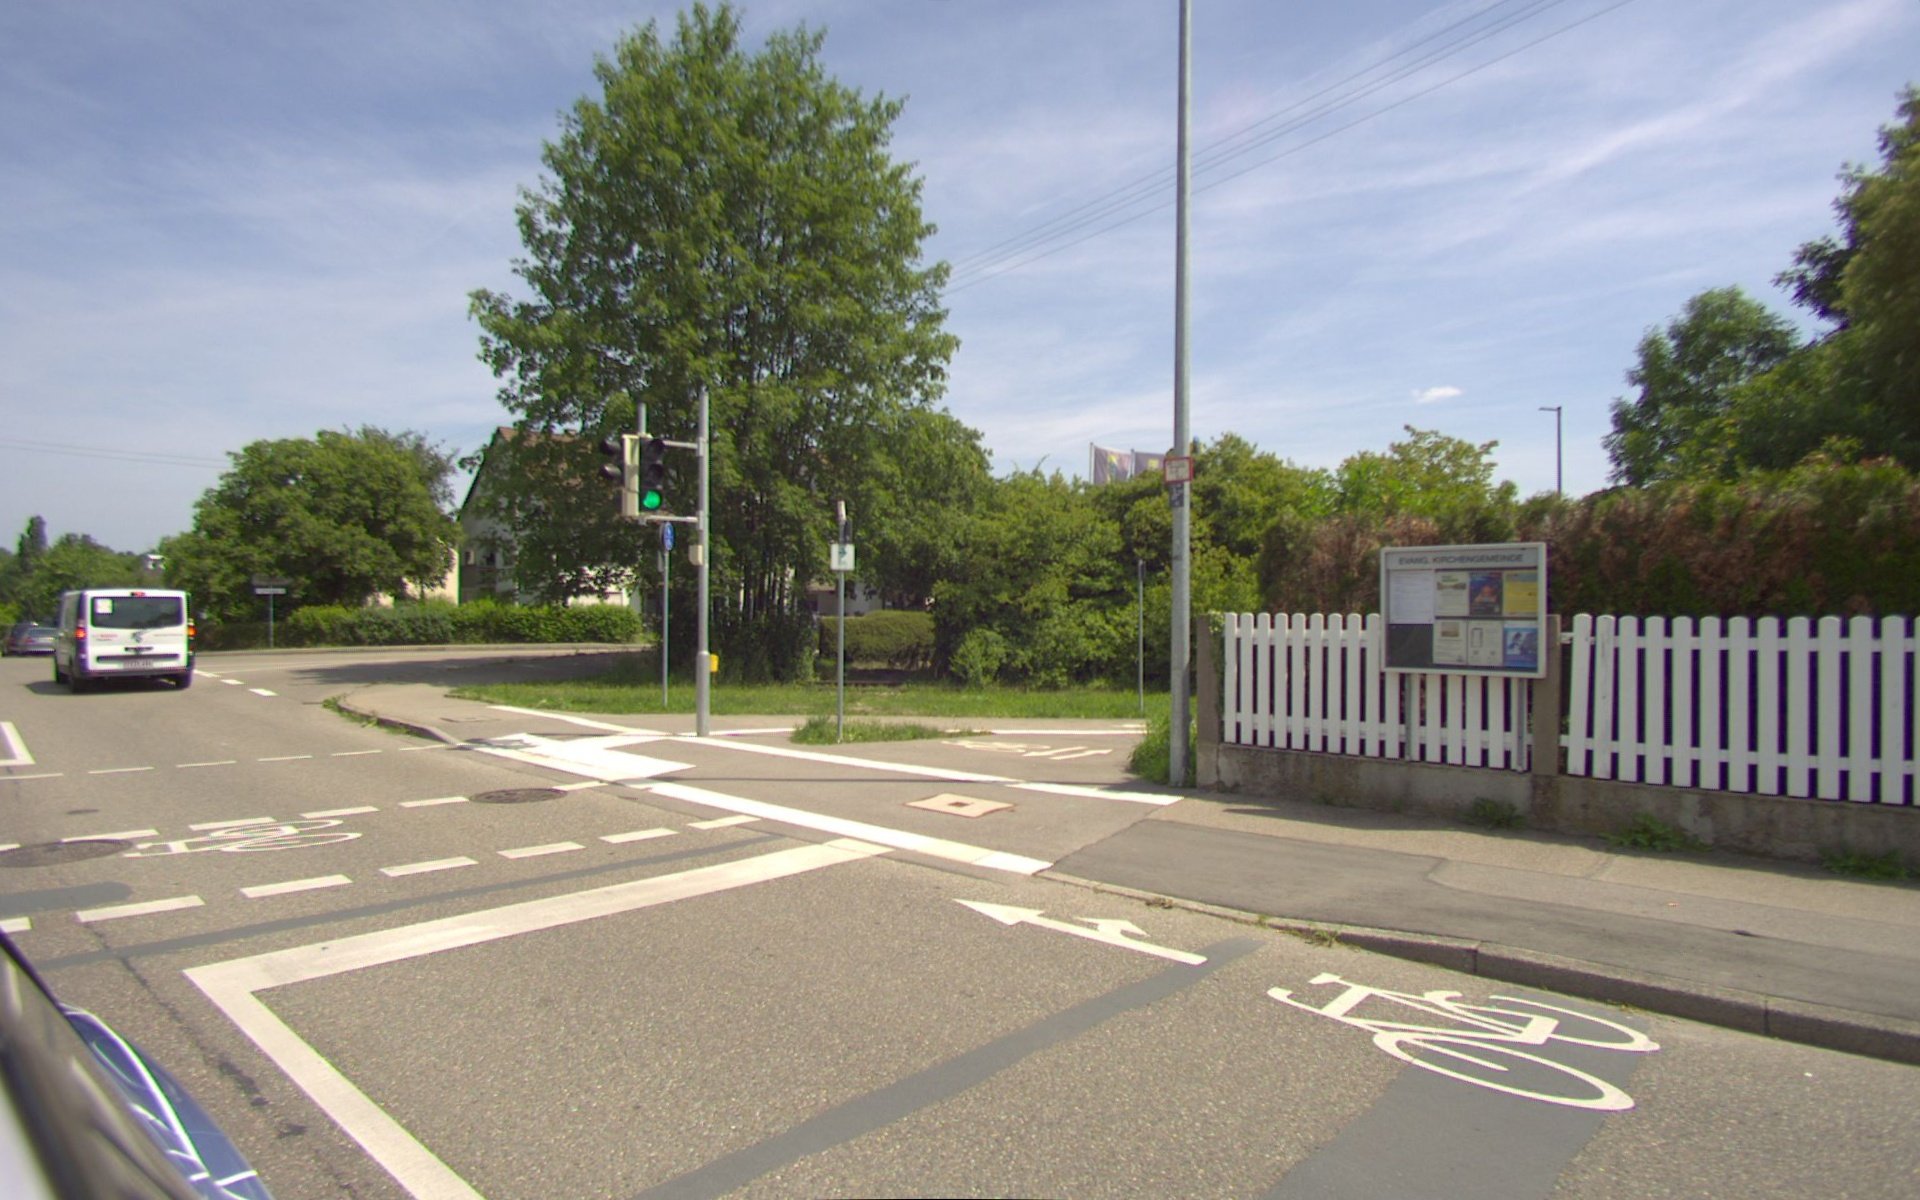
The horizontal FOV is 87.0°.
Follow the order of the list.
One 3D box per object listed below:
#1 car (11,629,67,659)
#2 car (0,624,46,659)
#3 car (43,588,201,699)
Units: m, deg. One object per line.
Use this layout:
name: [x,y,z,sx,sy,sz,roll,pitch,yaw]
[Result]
car: [-44.216,2.115,48.555,1.760,1.405,4.411,3,-4,-45]
car: [-56.328,2.515,60.614,4.869,1.935,1.876,-4,-5,42]
car: [-17.278,0.786,20.769,4.903,1.979,1.859,1,0,43]
